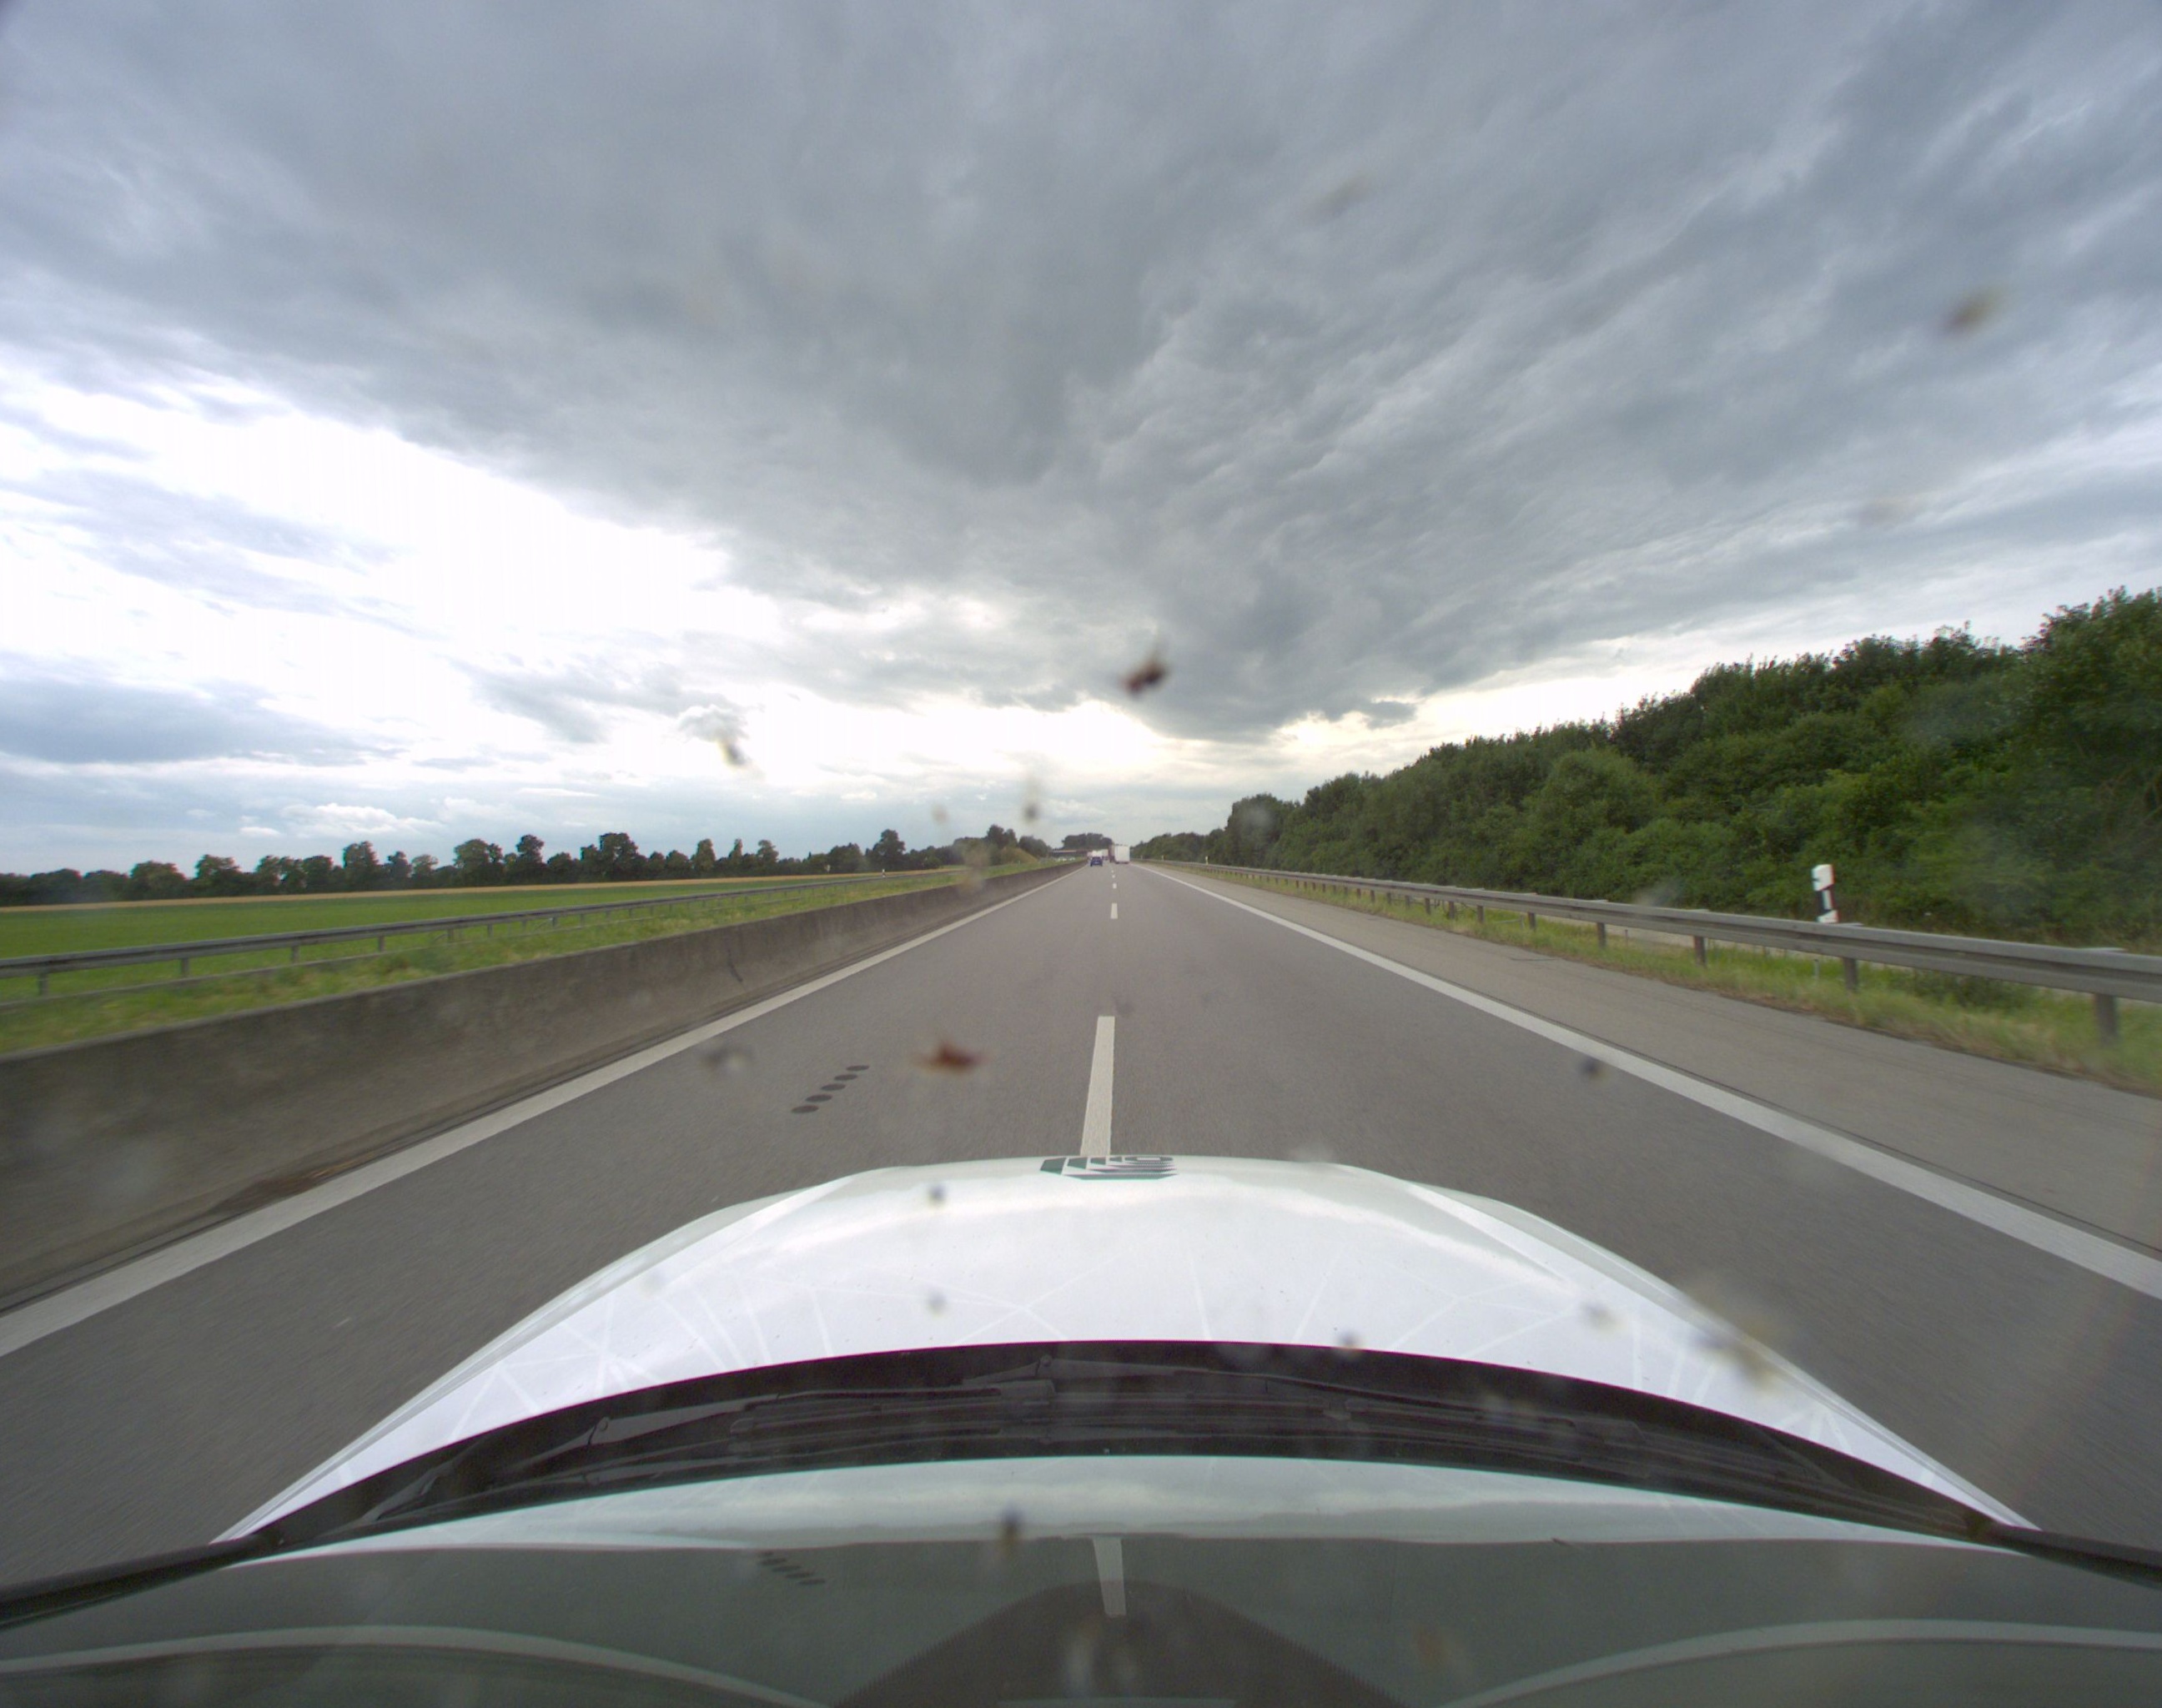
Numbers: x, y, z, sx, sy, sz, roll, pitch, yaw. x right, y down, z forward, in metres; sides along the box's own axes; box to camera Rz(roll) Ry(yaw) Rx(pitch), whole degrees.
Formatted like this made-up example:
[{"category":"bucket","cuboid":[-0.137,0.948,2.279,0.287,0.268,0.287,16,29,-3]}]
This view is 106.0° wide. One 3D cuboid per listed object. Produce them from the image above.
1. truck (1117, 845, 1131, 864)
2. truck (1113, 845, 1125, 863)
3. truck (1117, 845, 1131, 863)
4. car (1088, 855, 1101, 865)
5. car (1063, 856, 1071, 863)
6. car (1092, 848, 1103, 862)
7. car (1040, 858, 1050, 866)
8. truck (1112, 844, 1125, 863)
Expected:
[{"category":"truck","cuboid":[7.587,0.052,144.048,2.405,3.222,7.147,-1,-1,2]},{"category":"truck","cuboid":[8.645,-0.054,186.355,2.662,4.045,5.516,-2,0,3]},{"category":"truck","cuboid":[7.887,0.025,151.231,2.420,3.243,7.251,-1,-1,2]},{"category":"car","cuboid":[1.897,0.858,115.715,1.658,1.407,3.647,-1,0,0]},{"category":"car","cuboid":[-3.533,1.534,212.621,1.834,1.694,4.358,-4,0,1]},{"category":"car","cuboid":[3.219,0.222,158.113,2.122,2.483,5.841,-2,-1,2]},{"category":"car","cuboid":[-7.326,1.666,167.474,1.740,1.487,4.531,-4,0,1]},{"category":"truck","cuboid":[8.392,-0.041,180.903,2.662,4.045,11.115,-2,0,3]}]
